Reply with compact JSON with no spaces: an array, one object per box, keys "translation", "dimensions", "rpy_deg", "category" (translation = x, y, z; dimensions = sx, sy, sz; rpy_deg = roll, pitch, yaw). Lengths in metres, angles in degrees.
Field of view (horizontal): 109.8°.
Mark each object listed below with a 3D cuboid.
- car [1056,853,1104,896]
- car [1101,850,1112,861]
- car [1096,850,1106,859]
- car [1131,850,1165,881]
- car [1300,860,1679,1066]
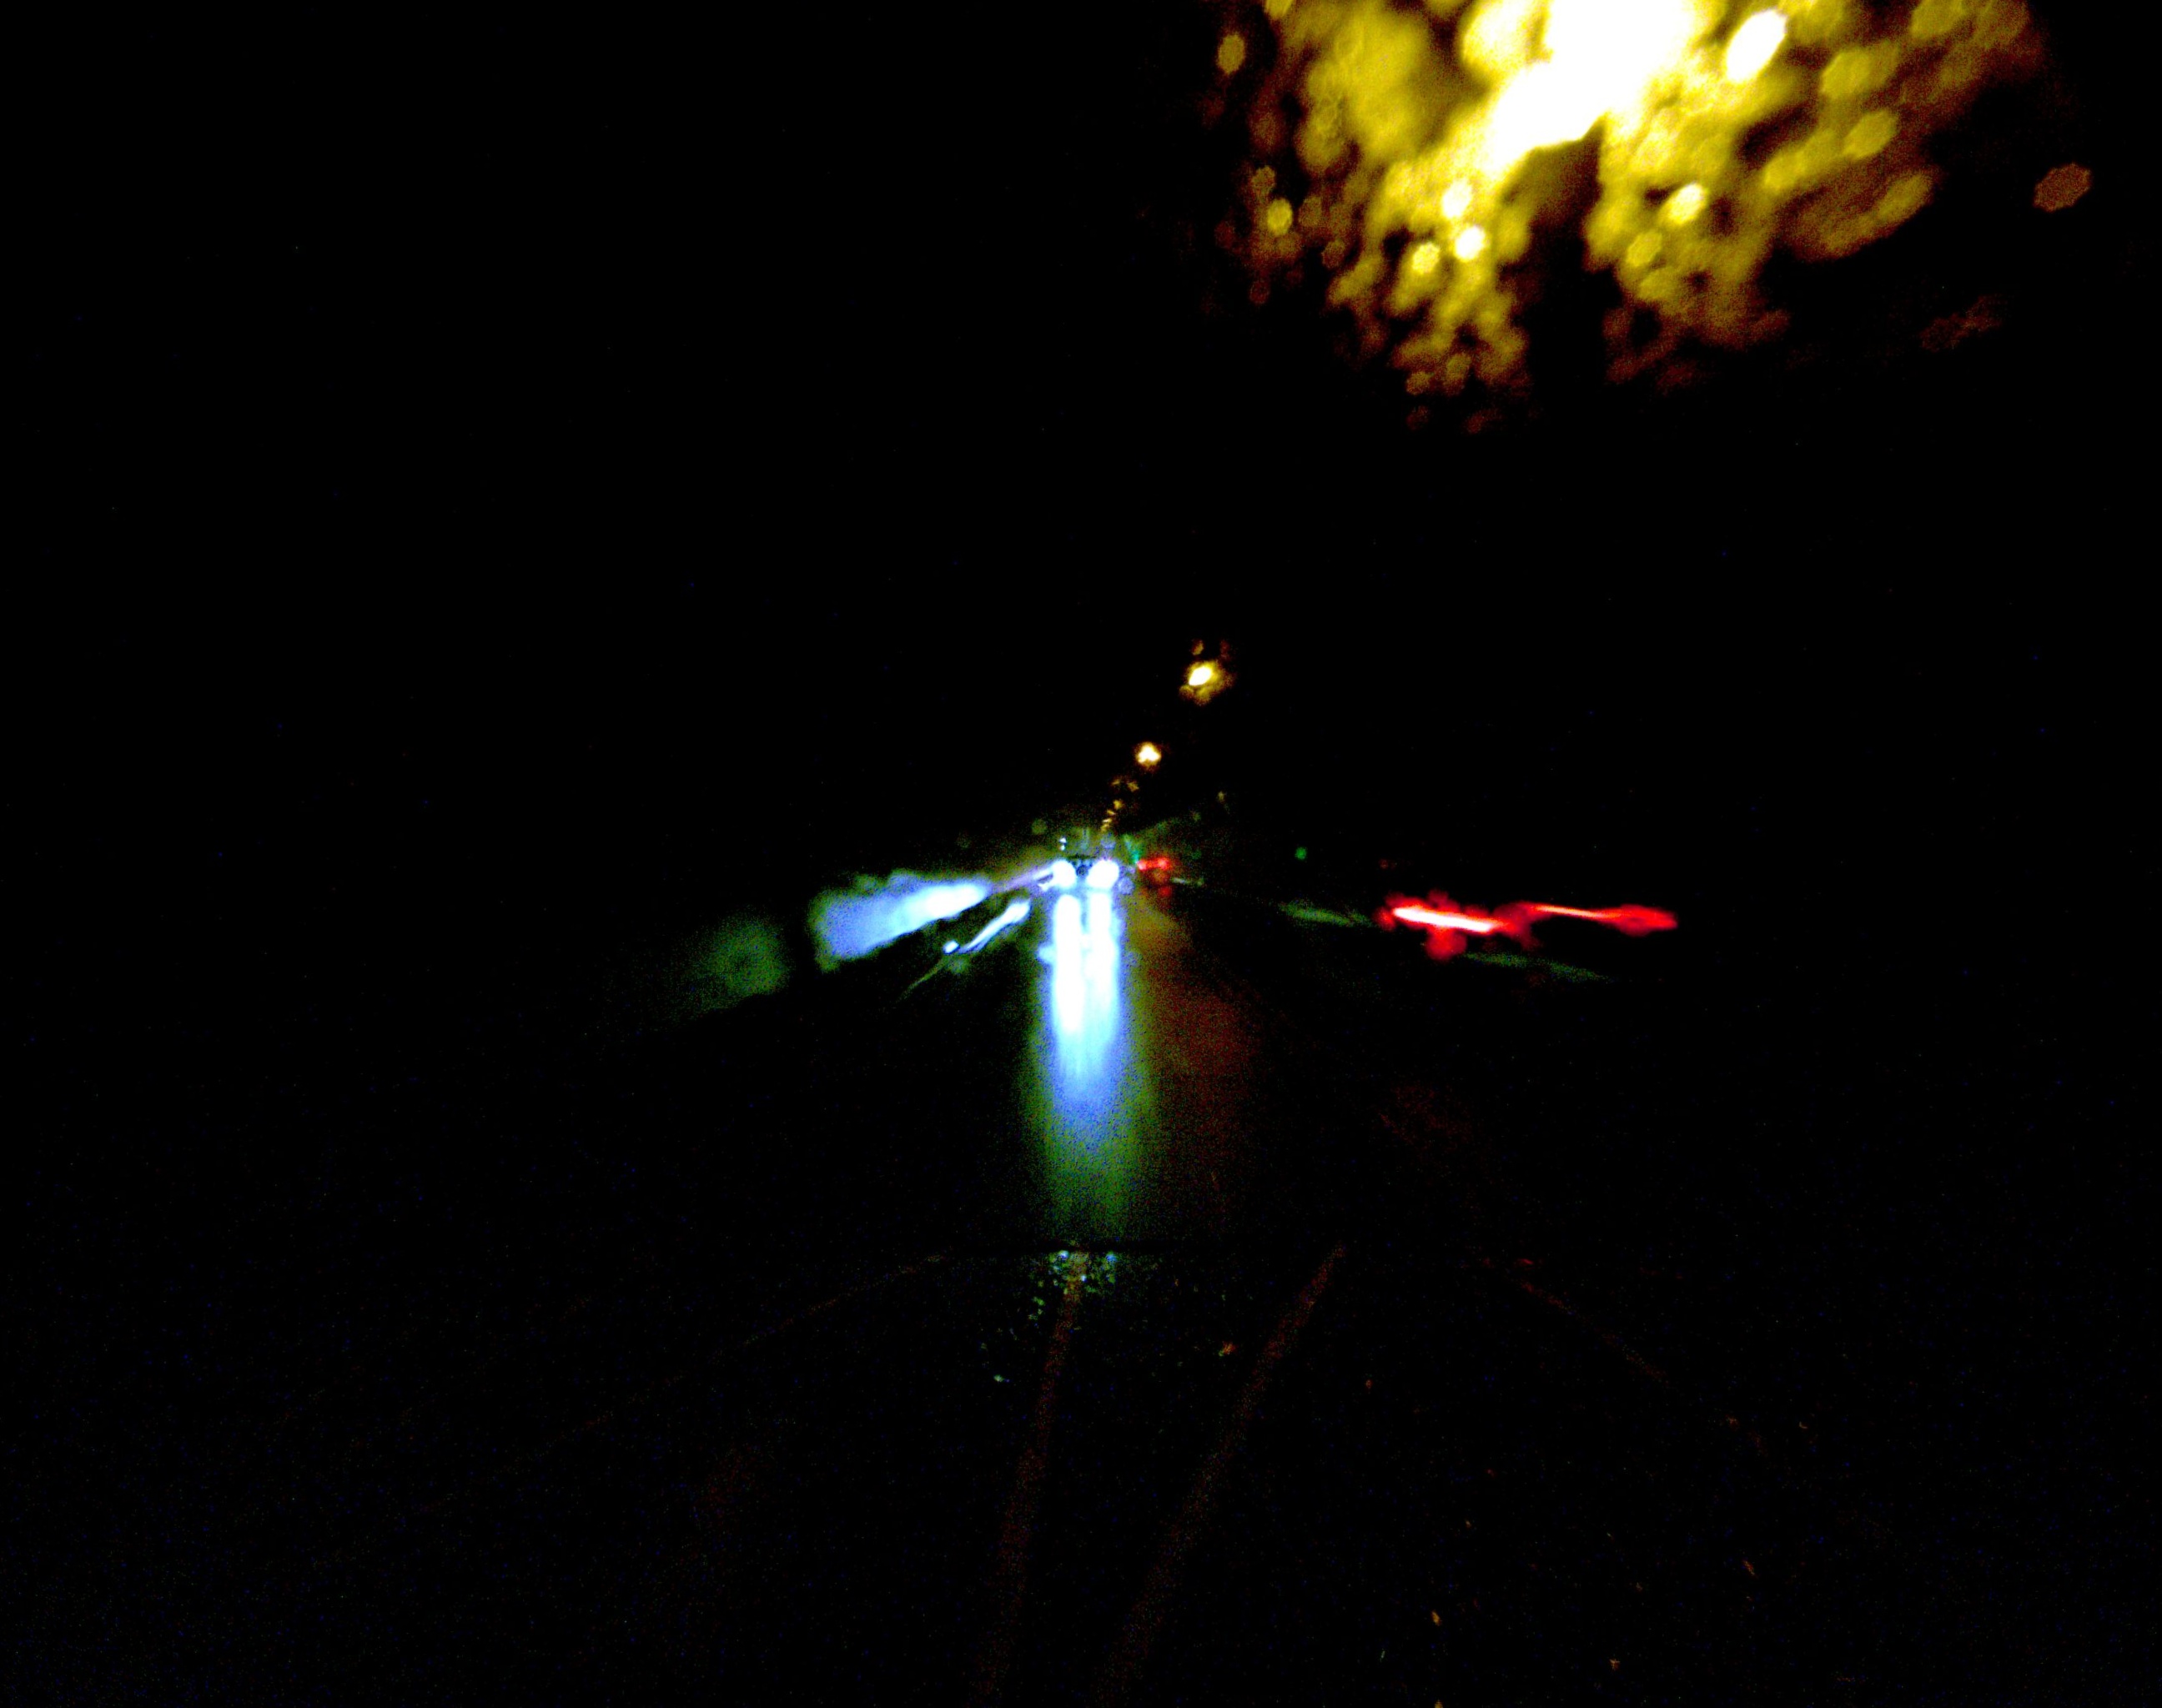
[{"translation":[-0.021,0.816,32.384],"dimensions":[1.829,1.650,3.929],"rpy_deg":[-3,0,1],"category":"car"},{"translation":[4.108,0.223,122.720],"dimensions":[1.602,1.604,3.995],"rpy_deg":[-3,0,1],"category":"car"},{"translation":[4.724,0.039,181.039],"dimensions":[2.090,2.002,4.559],"rpy_deg":[-3,0,1],"category":"car"},{"translation":[3.733,0.619,42.964],"dimensions":[1.573,1.622,3.729],"rpy_deg":[-2,0,1],"category":"car"},{"translation":[3.666,0.847,7.709],"dimensions":[1.739,1.433,3.836],"rpy_deg":[-4,0,1],"category":"car"}]
